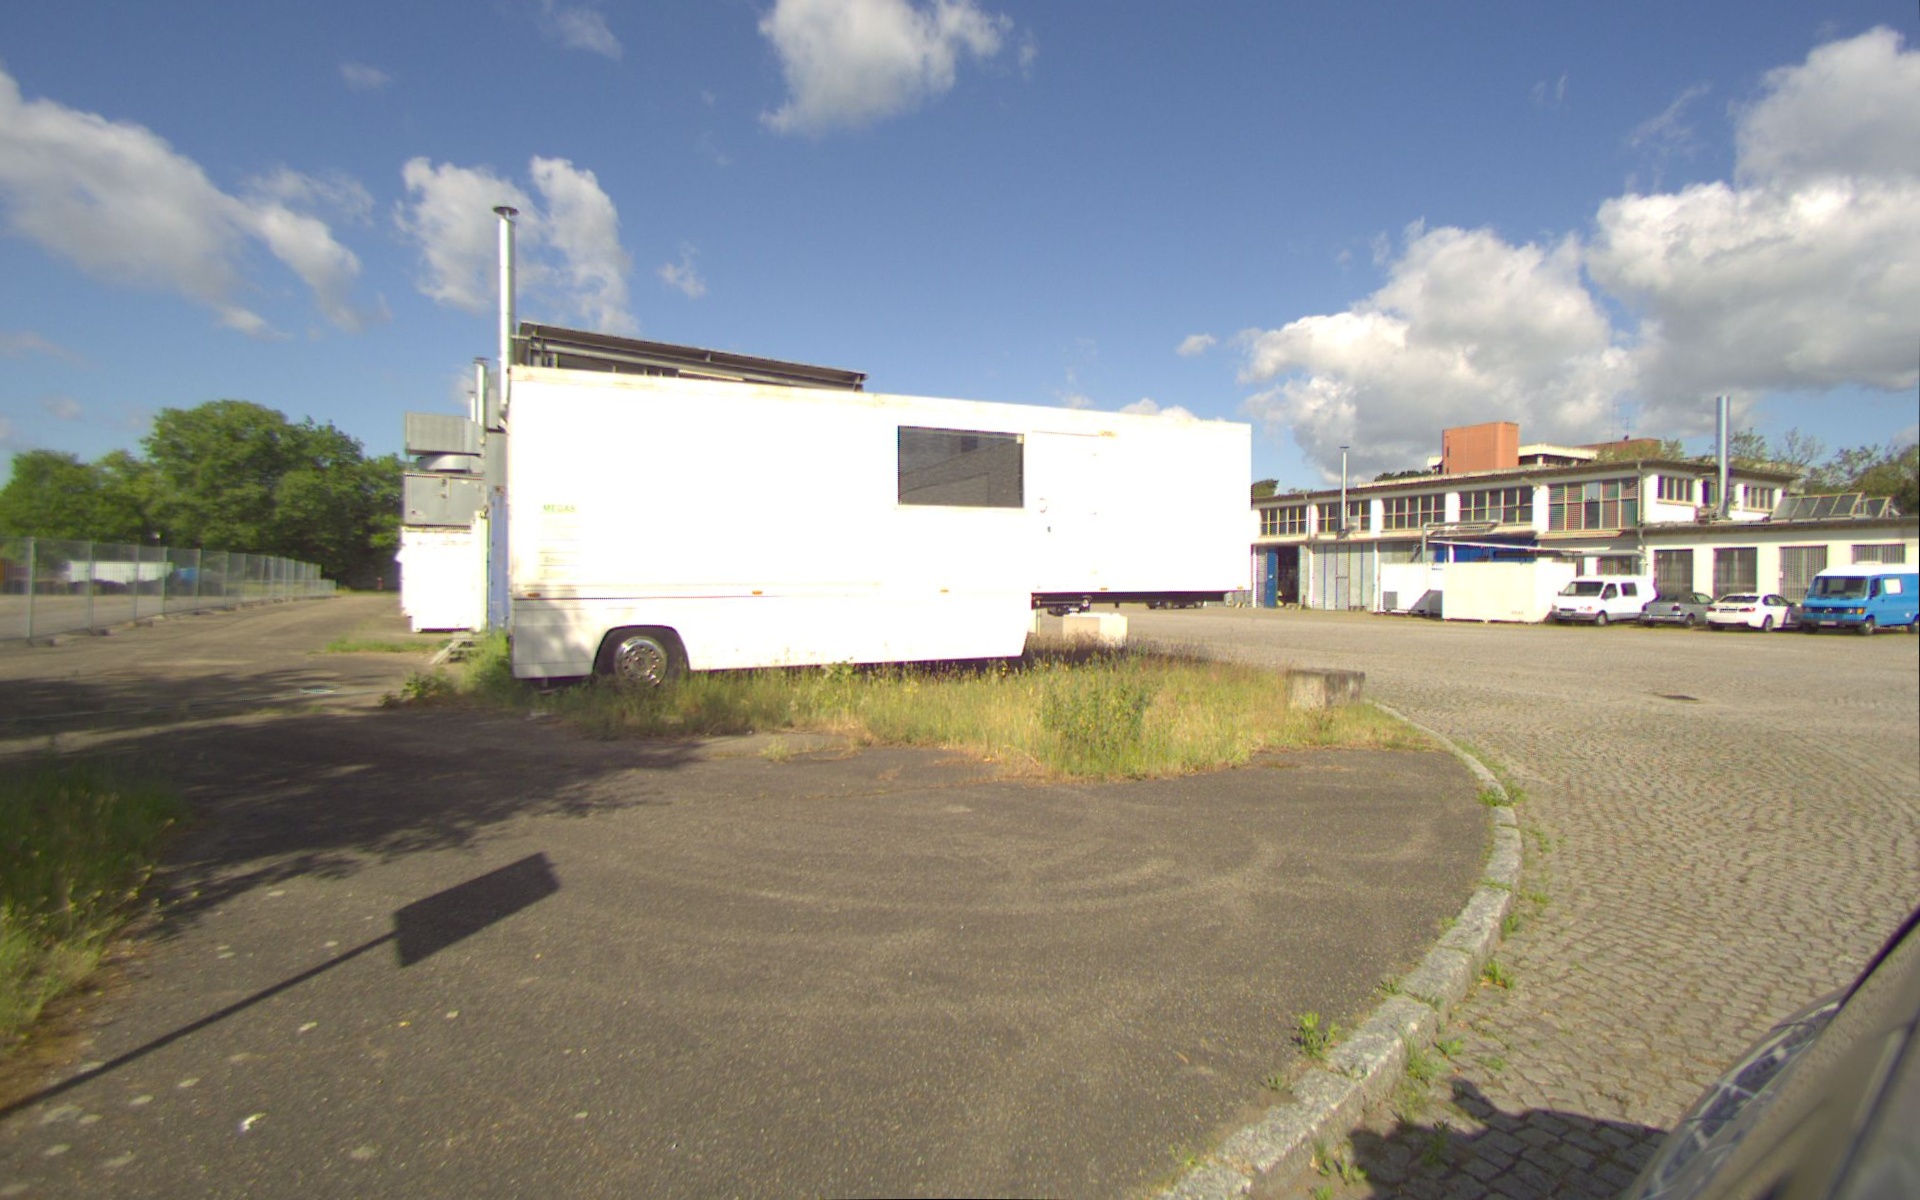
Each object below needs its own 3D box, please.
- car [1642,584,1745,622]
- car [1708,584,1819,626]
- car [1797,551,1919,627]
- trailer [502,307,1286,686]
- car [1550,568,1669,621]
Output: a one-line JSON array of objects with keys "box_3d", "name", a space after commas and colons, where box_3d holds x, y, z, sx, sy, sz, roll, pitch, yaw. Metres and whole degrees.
[{"box_3d": [29.225, 0.096, 40.318, 3.752, 1.416, 1.695, 0, 1, -25], "name": "car"}, {"box_3d": [29.682, 0.174, 37.380, 3.662, 1.423, 1.741, -2, 1, -25], "name": "car"}, {"box_3d": [31.825, -0.377, 35.272, 5.130, 2.514, 2.093, 0, 0, -25], "name": "car"}, {"box_3d": [-0.507, -1.105, 14.132, 10.661, 3.960, 2.786, 0, 0, -26], "name": "trailer"}, {"box_3d": [27.389, -0.277, 42.670, 4.705, 2.107, 2.013, -1, 1, -25], "name": "car"}]
